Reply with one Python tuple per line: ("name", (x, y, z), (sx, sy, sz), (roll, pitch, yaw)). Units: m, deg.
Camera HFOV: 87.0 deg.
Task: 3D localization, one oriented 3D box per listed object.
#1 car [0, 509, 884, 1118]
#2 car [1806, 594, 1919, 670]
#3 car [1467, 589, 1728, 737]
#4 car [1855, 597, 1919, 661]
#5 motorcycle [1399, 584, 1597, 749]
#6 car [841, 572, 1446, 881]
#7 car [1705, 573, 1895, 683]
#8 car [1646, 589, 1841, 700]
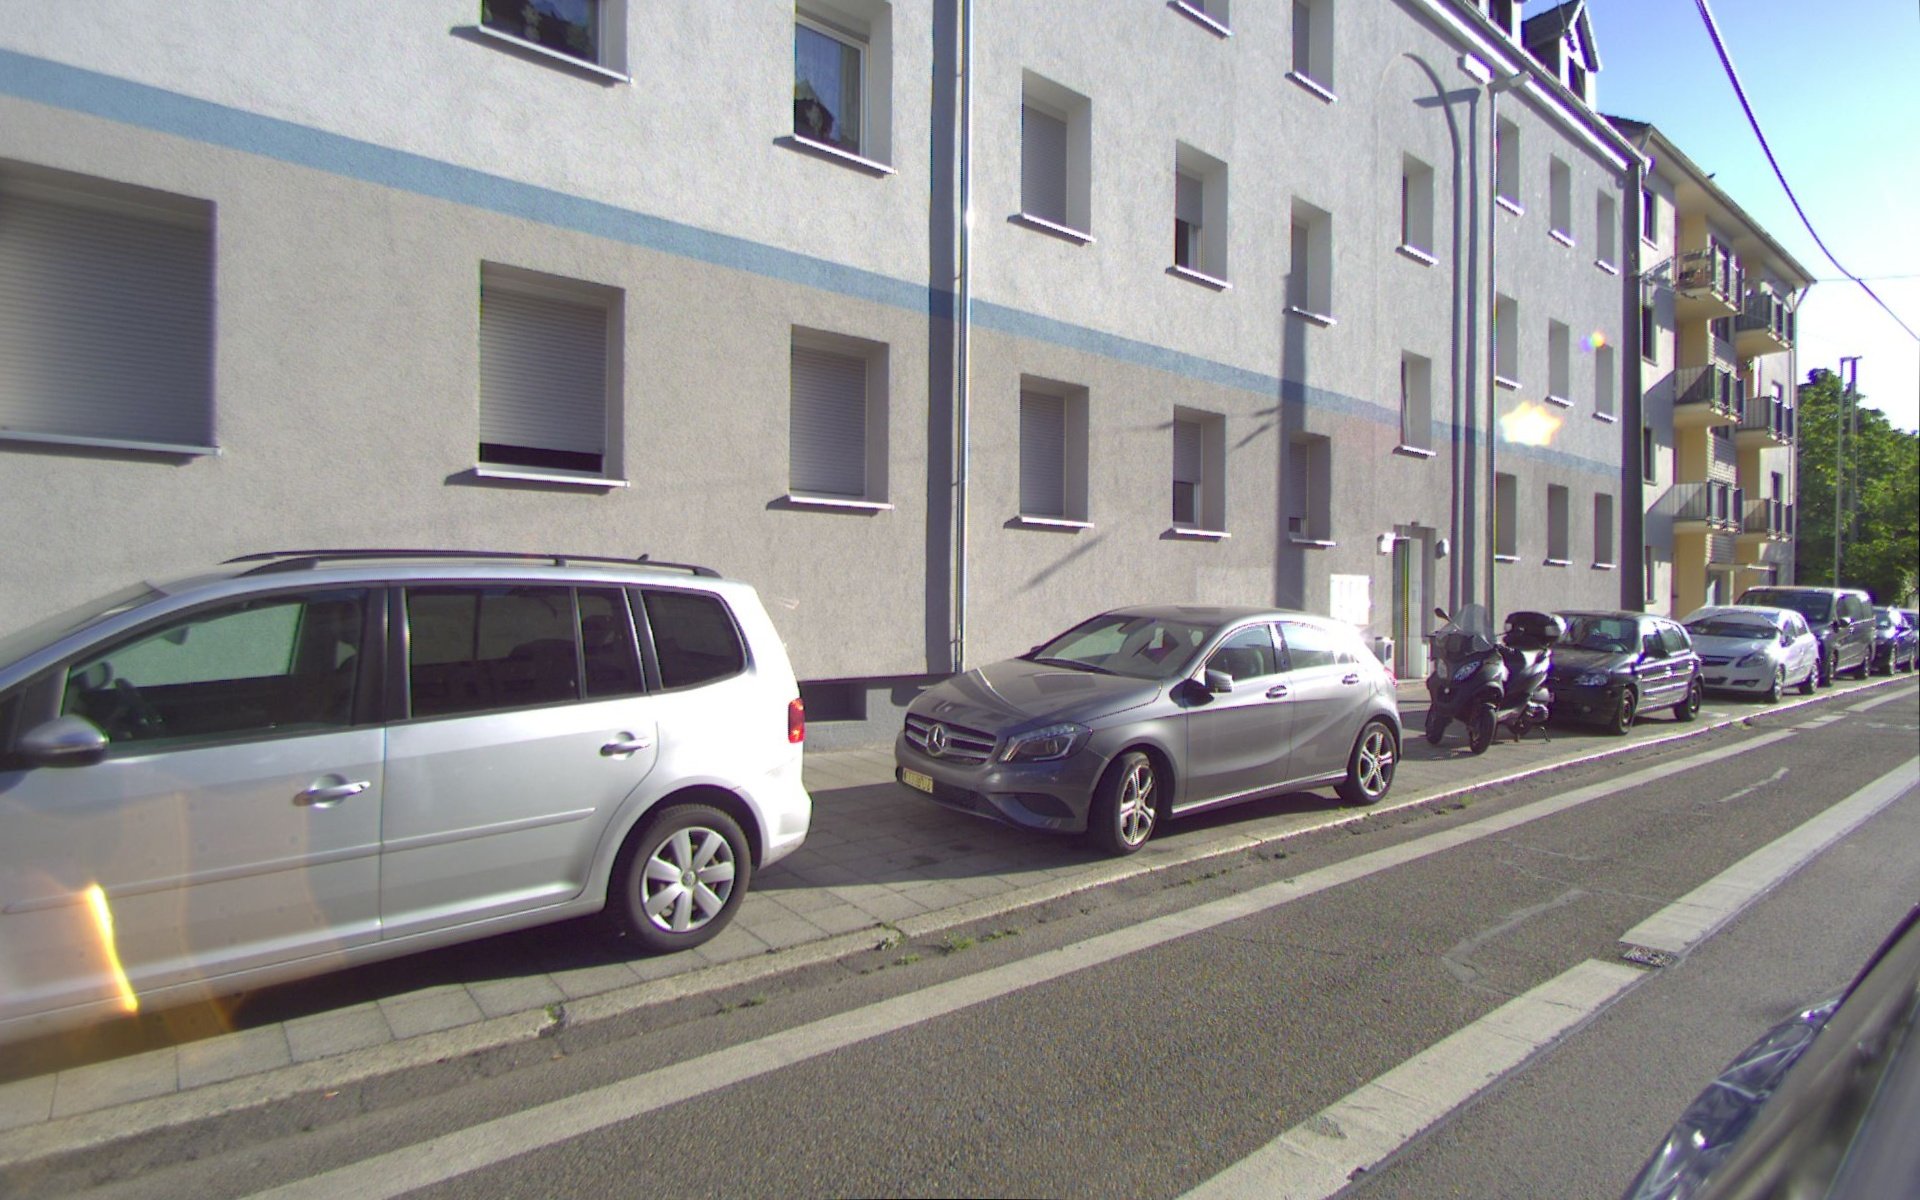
("car", (-2.644, 0.558, 3.977), (4.547, 1.686, 1.758), (0, 2, -42))
("car", (21.418, 0.689, 23.739), (4.142, 1.590, 1.613), (0, 2, -39))
("car", (8.289, 0.697, 13.051), (3.832, 1.590, 1.613), (0, 2, -38))
("car", (25.134, 0.734, 26.785), (3.566, 1.561, 1.557), (0, 2, -39))
("motorcycle", (5.730, 0.623, 10.690), (2.659, 1.540, 0.808), (0, 1, -38))
("car", (1.484, 0.642, 7.293), (4.285, 1.574, 1.869), (0, 2, -37))
("car", (17.037, 0.484, 20.448), (4.912, 1.945, 1.935), (0, 2, -38))
("car", (13.194, 0.657, 16.975), (3.835, 1.590, 1.804), (0, 2, -40))
